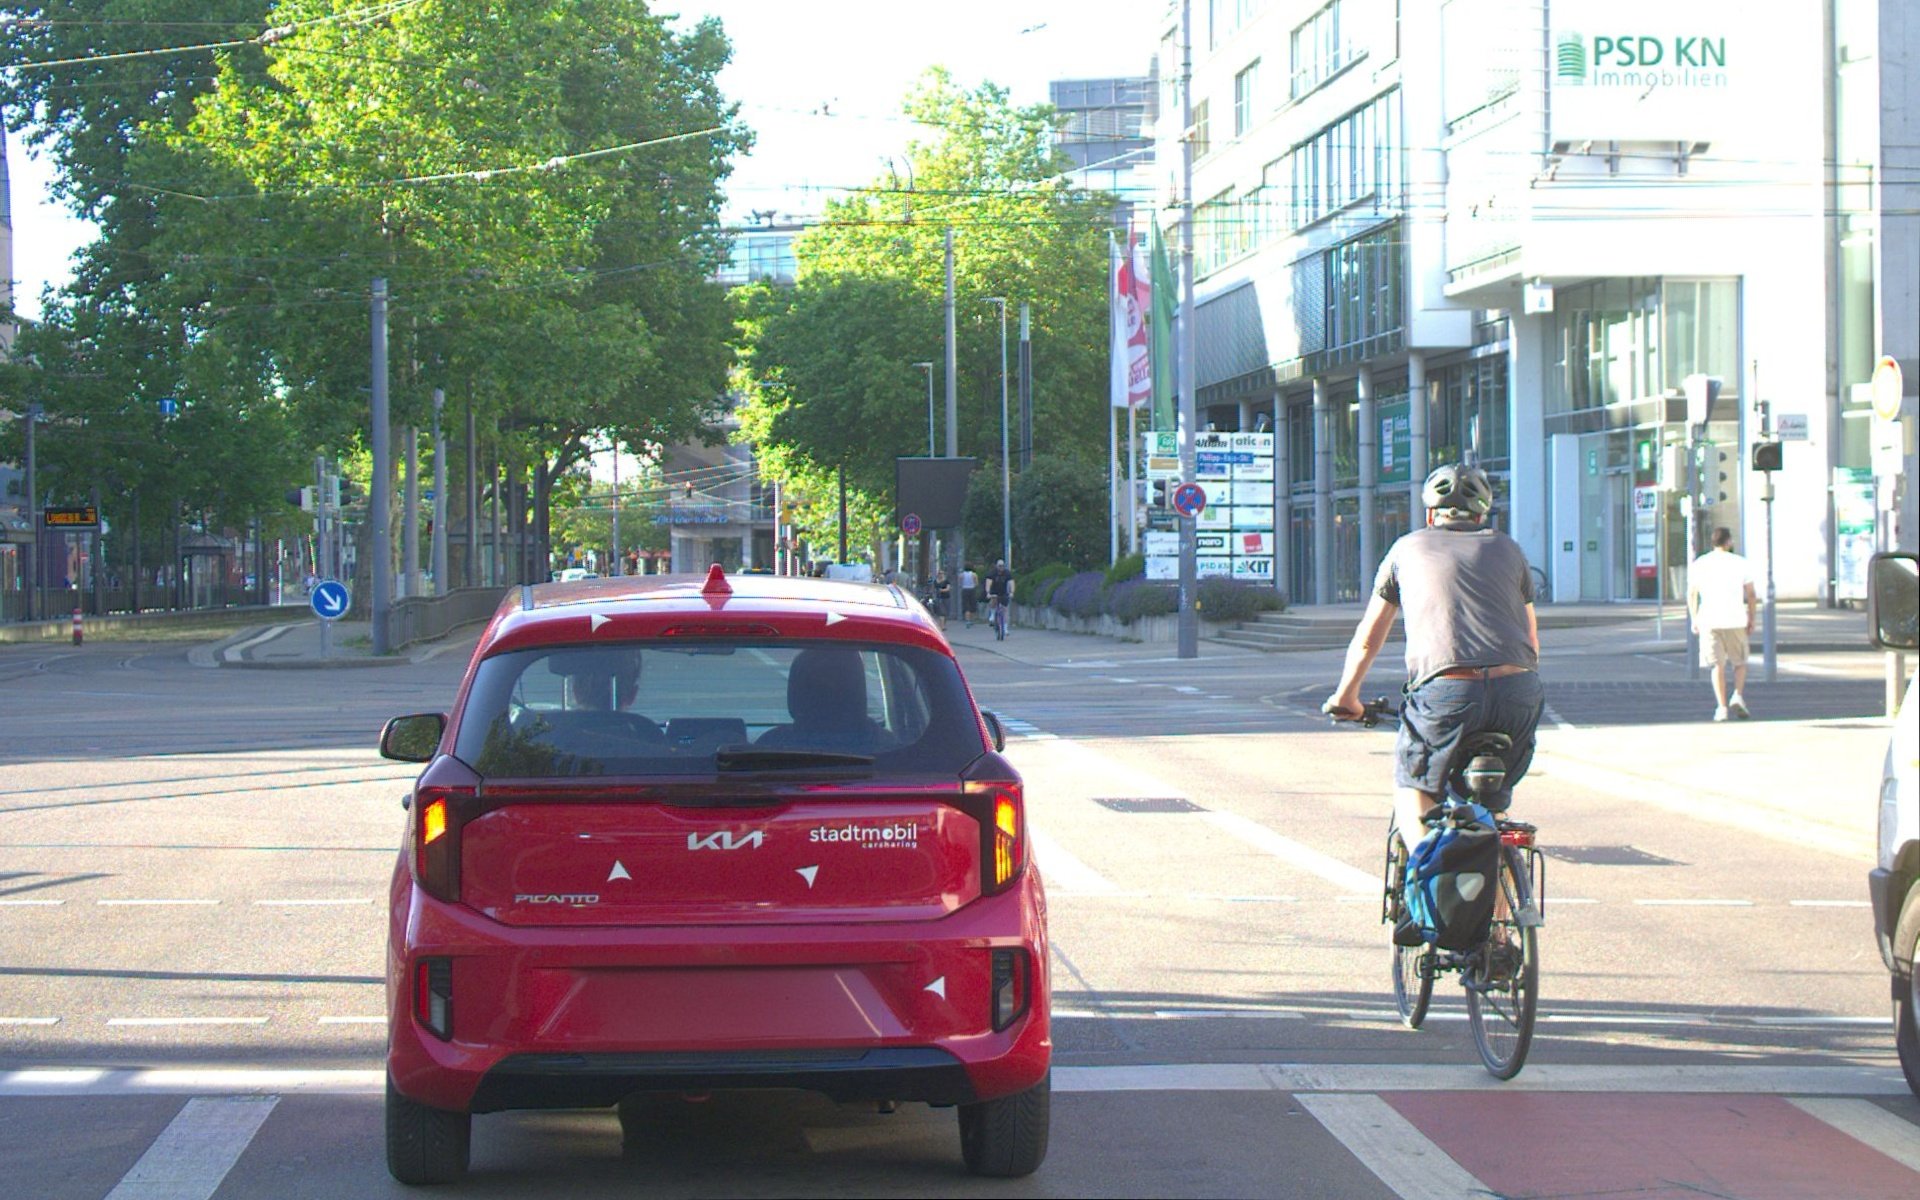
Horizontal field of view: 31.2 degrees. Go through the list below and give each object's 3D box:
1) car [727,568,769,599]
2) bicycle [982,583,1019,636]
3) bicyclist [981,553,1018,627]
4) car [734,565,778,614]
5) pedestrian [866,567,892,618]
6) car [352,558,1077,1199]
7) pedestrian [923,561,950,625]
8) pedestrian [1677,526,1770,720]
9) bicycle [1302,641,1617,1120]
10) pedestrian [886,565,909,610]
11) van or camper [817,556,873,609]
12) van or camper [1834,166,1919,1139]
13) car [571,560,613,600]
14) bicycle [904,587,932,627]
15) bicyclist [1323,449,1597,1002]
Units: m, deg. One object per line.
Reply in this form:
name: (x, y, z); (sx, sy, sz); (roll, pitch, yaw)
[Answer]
car: (-10.816, -0.850, 175.147); (1.777, 1.529, 3.513); (0, 1, -10)
bicycle: (0.892, 0.203, 76.118); (0.696, 1.094, 1.751); (-4, 1, -1)
bicyclist: (0.868, -0.223, 76.196); (0.722, 1.597, 1.089); (-3, 1, -1)
car: (-7.741, -0.400, 130.472); (1.635, 1.794, 3.330); (-1, 1, -3)
pedestrian: (-2.565, -0.236, 108.711); (0.641, 1.574, 0.723); (-4, 1, -7)
car: (-0.694, 0.655, 9.390); (1.613, 1.529, 3.412); (0, 1, -5)
pedestrian: (-0.628, -0.184, 91.056); (0.646, 1.674, 0.651); (-1, 1, -5)
pedestrian: (7.283, 0.207, 32.833); (0.778, 1.817, 1.215); (-1, 1, 9)
bicycle: (1.488, 0.792, 10.548); (0.650, 1.276, 1.966); (-1, 1, -1)
pedestrian: (-2.460, -0.484, 135.402); (0.891, 1.747, 0.841); (-1, 1, -1)
van or camper: (-4.439, -0.668, 132.148); (1.993, 1.982, 4.745); (0, 0, -4)
van or camper: (3.805, 0.179, 7.195); (1.968, 2.707, 6.306); (0, 1, -4)
car: (-19.156, -1.042, 178.724); (1.993, 2.007, 4.001); (-1, 1, -8)
bicycle: (-1.108, 0.179, 91.291); (0.520, 0.971, 2.202); (-4, 1, -5)
bicyclist: (1.506, 0.357, 10.506); (0.650, 1.597, 1.089); (-1, 1, -1)
